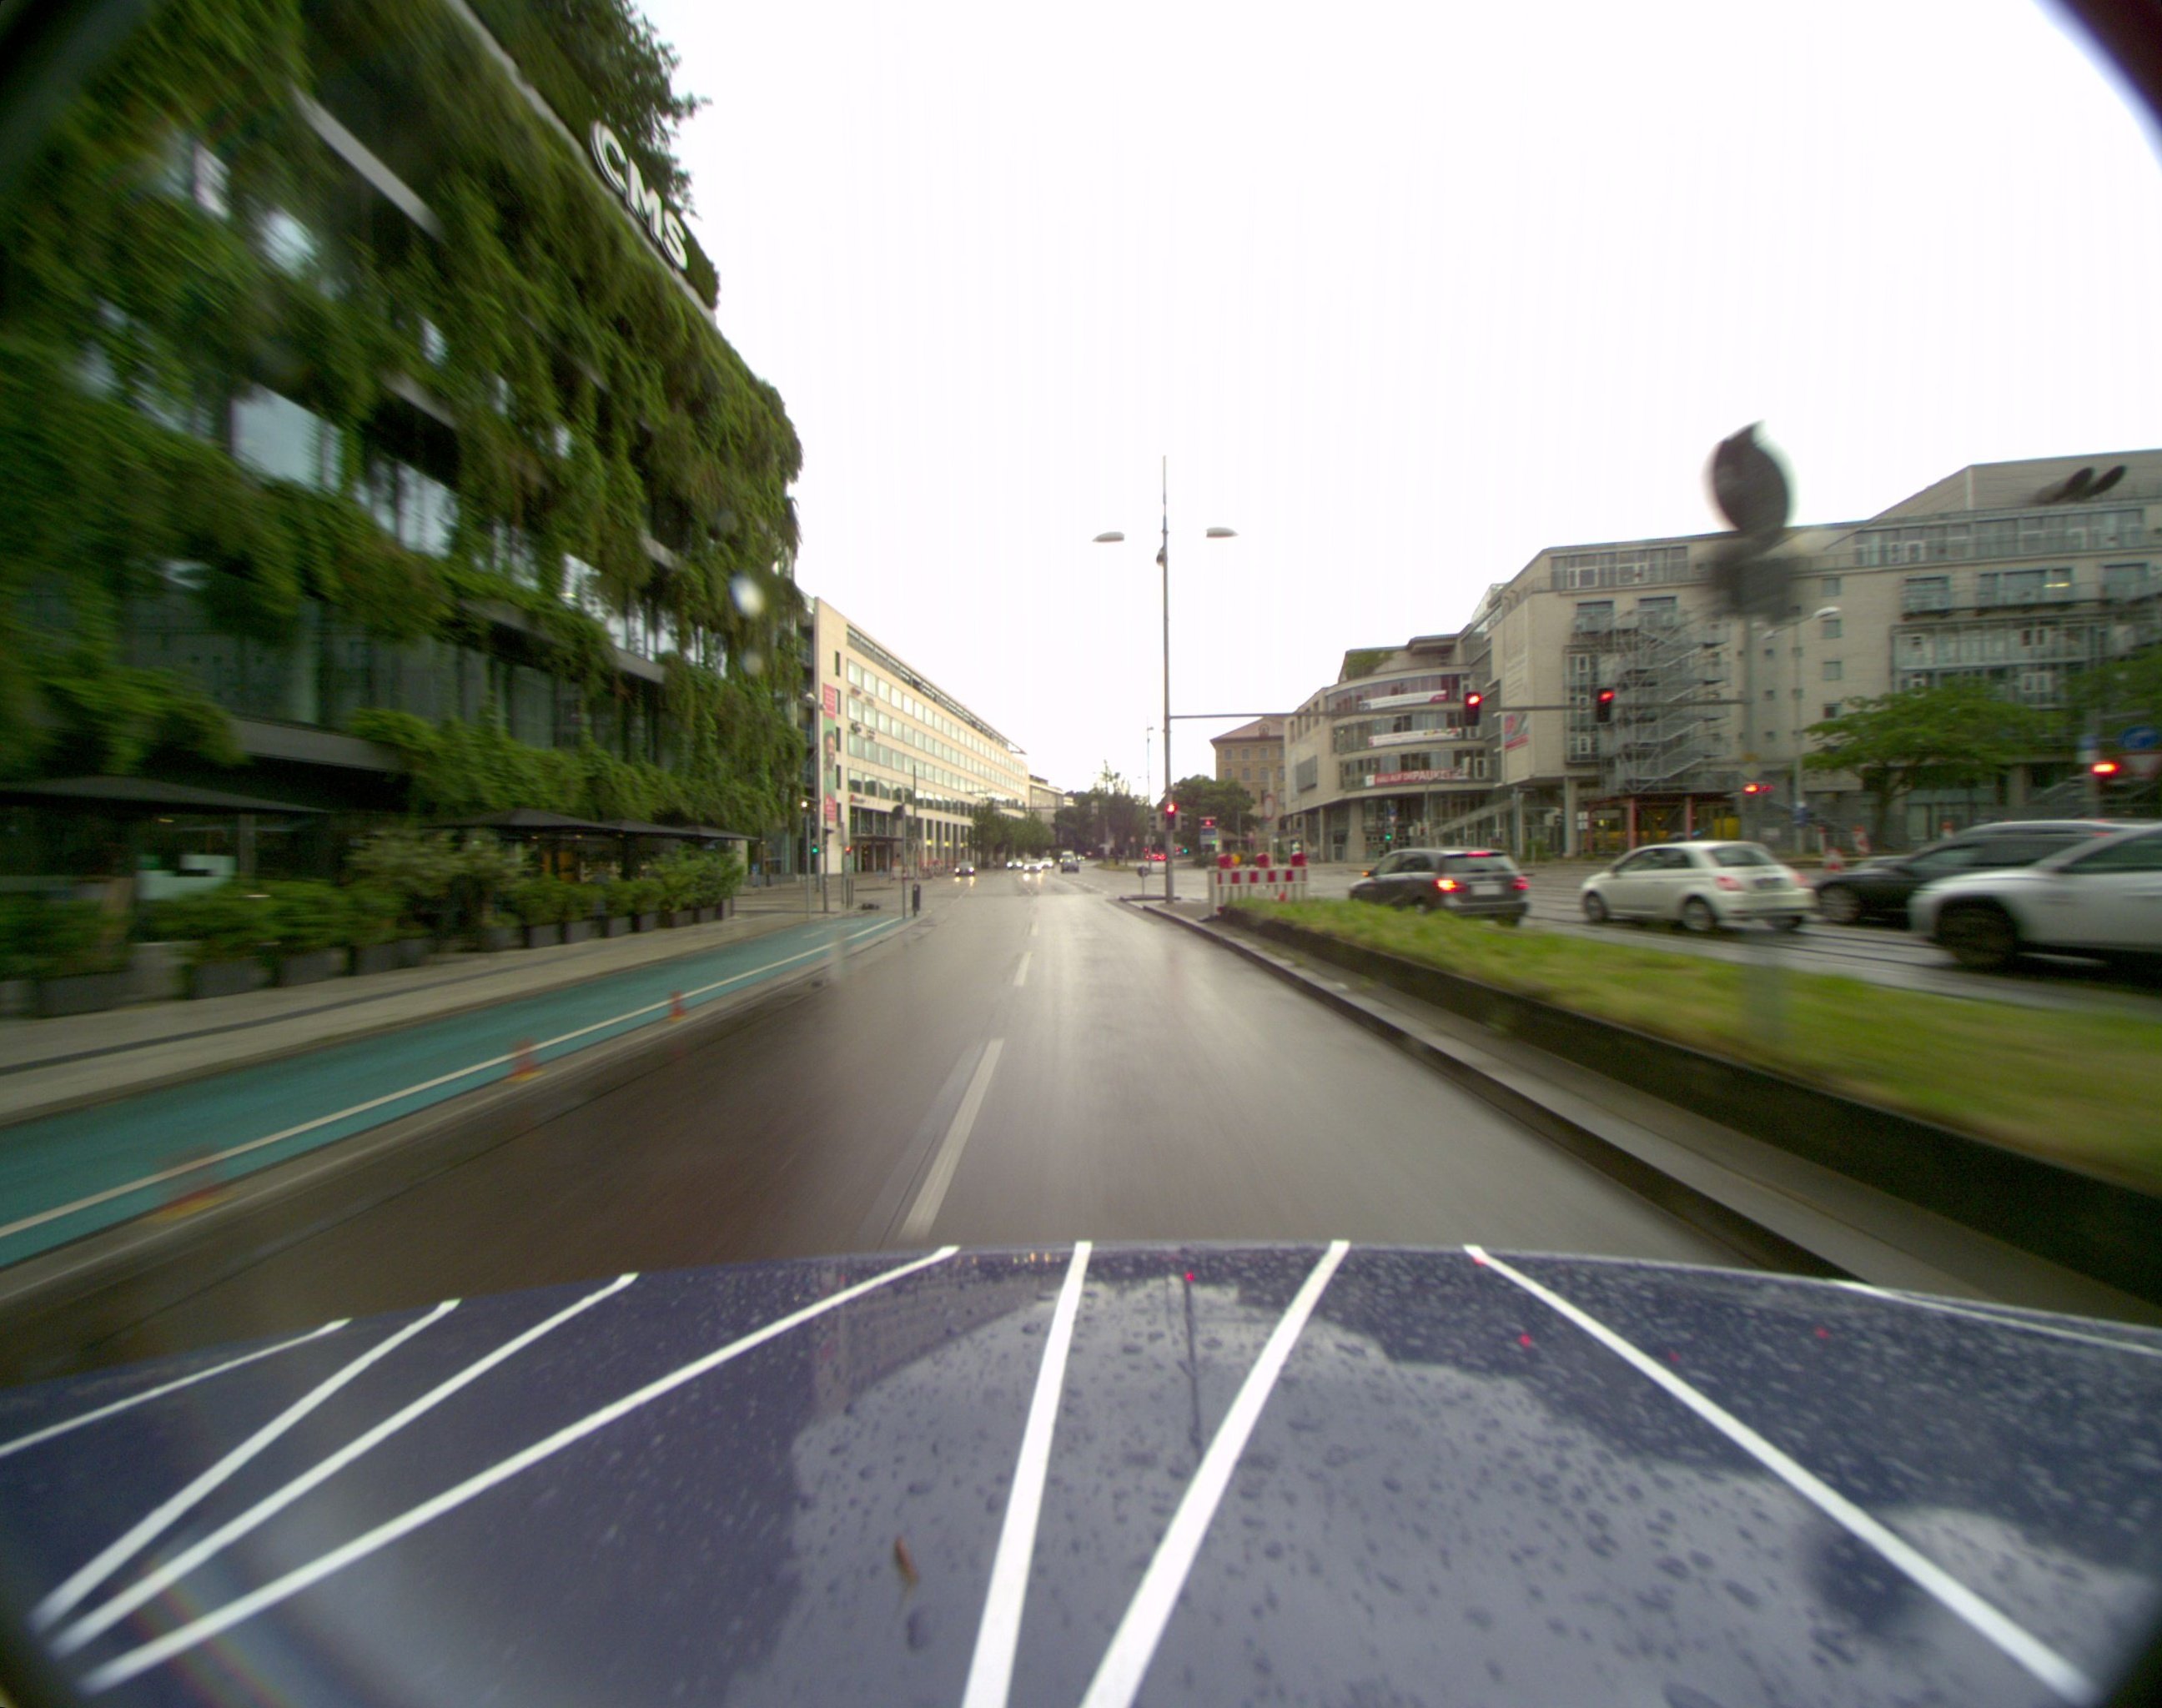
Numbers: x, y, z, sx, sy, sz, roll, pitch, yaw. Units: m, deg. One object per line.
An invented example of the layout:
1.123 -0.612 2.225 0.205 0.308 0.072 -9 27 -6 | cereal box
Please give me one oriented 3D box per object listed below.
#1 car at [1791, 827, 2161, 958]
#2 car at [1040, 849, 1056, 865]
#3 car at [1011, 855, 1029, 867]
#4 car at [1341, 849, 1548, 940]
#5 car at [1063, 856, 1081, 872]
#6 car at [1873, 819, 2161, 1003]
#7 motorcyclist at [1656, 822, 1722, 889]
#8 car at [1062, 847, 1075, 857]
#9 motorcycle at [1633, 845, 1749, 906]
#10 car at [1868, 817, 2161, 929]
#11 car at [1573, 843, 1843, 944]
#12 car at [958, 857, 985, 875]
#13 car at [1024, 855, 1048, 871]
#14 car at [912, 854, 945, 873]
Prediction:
13.641 0.436 11.419 1.841 1.556 4.221 -2 1 -3 | car
-4.605 0.353 106.588 1.979 2.116 5.105 -2 0 0 | car
-8.279 0.911 102.743 1.739 1.543 4.671 -2 1 3 | car
6.900 0.687 14.986 1.849 1.473 4.162 -2 0 -4 | car
-0.897 0.935 73.606 1.724 1.424 3.999 -2 0 -2 | car
10.725 0.490 6.968 1.881 1.675 4.798 -2 0 -1 | car
13.160 0.033 16.473 0.789 1.383 0.733 -3 0 -6 | motorcyclist
-2.527 -0.372 152.468 1.997 2.002 4.002 -2 0 6 | car
13.175 0.437 16.492 0.720 1.221 2.042 -2 1 -6 | motorcycle
16.562 0.238 12.768 1.762 1.608 4.660 -2 1 -2 | car
10.591 0.595 13.191 1.722 1.467 3.429 -2 0 -4 | car
-10.727 1.149 74.809 1.739 1.543 4.671 -2 1 3 | car
-4.674 0.932 79.455 1.978 1.543 4.671 -2 1 3 | car
-13.930 0.823 69.674 1.739 1.543 4.671 -2 1 3 | car
